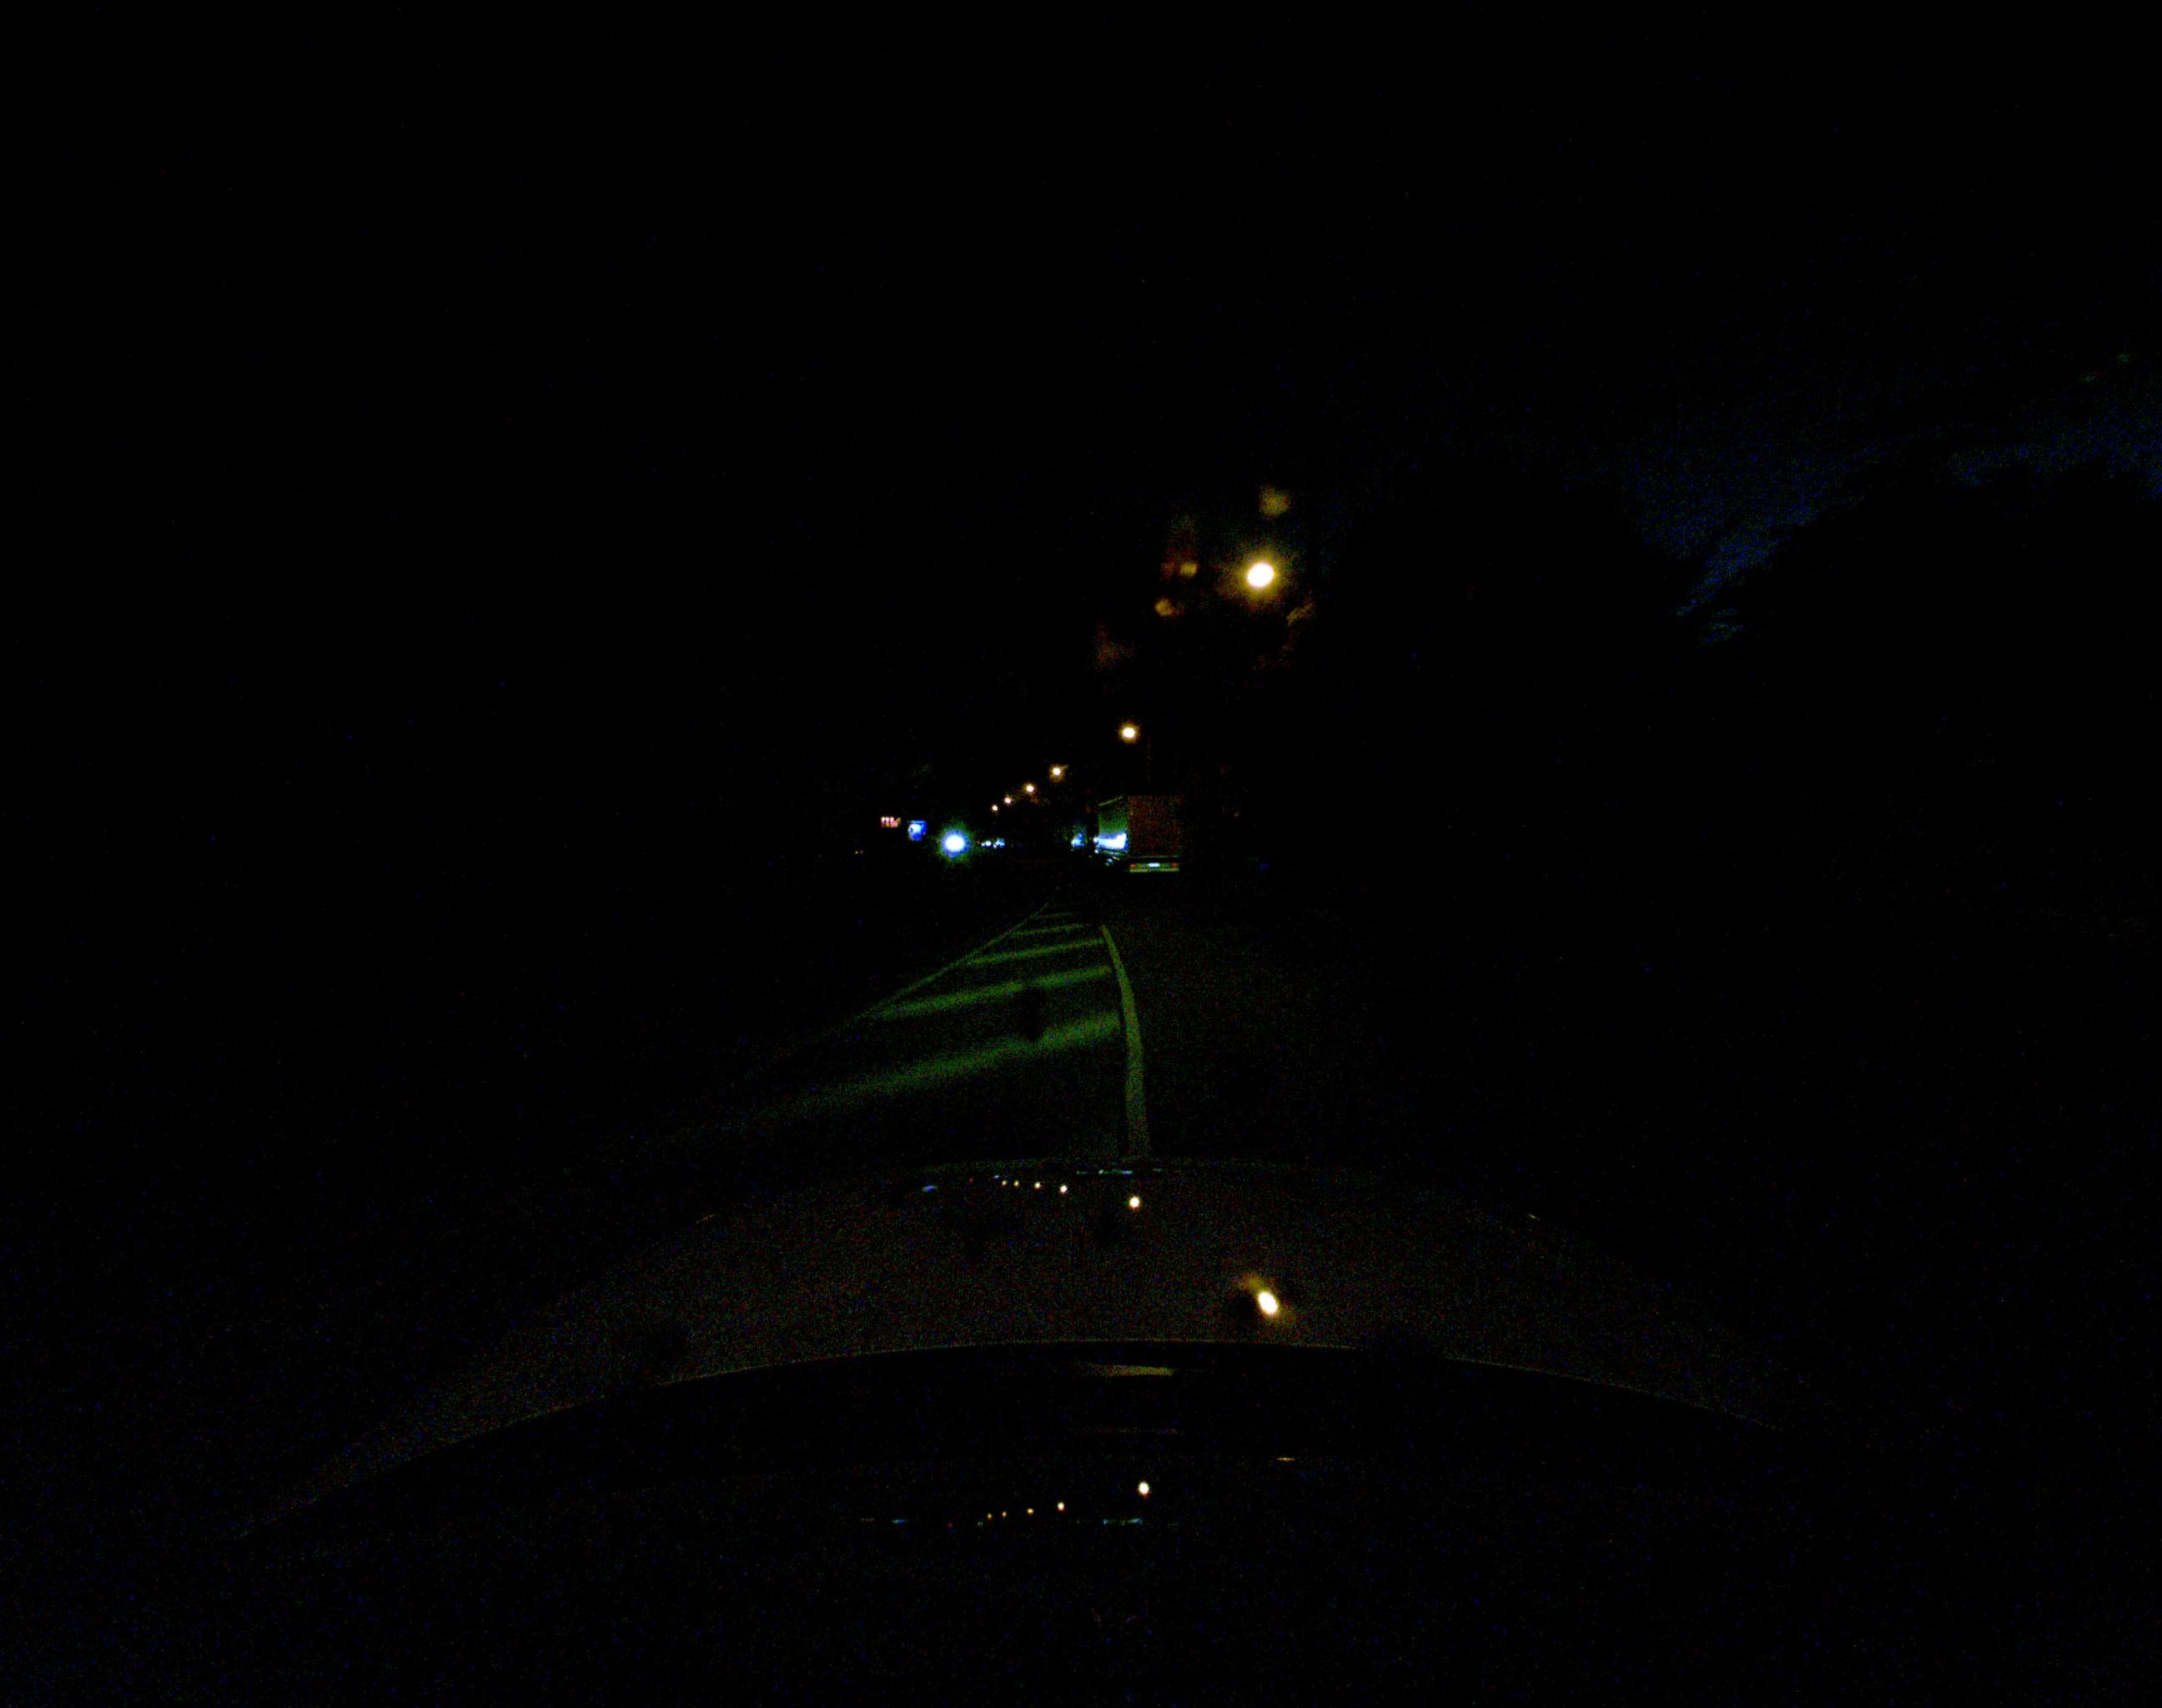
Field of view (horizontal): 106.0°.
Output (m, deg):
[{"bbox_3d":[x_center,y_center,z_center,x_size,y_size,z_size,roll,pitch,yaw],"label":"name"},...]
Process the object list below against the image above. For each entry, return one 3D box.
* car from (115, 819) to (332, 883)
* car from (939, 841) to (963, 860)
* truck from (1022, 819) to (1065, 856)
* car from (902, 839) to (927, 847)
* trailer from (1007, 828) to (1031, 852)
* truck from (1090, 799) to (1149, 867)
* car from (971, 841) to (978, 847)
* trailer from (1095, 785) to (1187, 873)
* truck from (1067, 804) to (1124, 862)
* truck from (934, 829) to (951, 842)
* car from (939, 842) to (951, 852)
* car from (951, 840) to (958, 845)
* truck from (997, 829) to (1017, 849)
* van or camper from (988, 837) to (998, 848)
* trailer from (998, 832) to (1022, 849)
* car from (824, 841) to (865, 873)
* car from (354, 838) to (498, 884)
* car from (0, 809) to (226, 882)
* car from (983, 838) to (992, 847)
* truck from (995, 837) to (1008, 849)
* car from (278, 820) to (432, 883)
[{"bbox_3d":[-29.312,-0.113,28.200,2.249,2.004,5.395,0,0,-8],"label":"car"},{"bbox_3d":[-12.028,-0.321,75.223,1.994,1.636,4.756,0,0,-11],"label":"car"},{"bbox_3d":[-4.520,-1.874,94.859,3.522,3.983,10.304,-2,1,-11],"label":"truck"},{"bbox_3d":[-33.814,-2.245,165.653,4.645,1.485,1.980,-1,1,-32],"label":"car"},{"bbox_3d":[-9.396,-2.070,122.766,2.689,3.464,7.777,0,0,-12],"label":"trailer"},{"bbox_3d":[2.333,-1.270,51.219,2.826,3.983,6.039,-2,1,-5],"label":"truck"},{"bbox_3d":[-32.556,-3.068,248.364,1.993,1.683,3.987,0,1,-10],"label":"car"},{"bbox_3d":[2.903,-1.242,44.431,2.804,3.983,13.952,-2,1,-5],"label":"trailer"},{"bbox_3d":[0.920,-1.521,61.667,2.827,3.983,10.318,-2,1,-7],"label":"truck"},{"bbox_3d":[-38.528,-5.067,226.187,3.897,3.621,8.219,0,1,-15],"label":"truck"},{"bbox_3d":[-25.130,-1.306,150.524,1.993,1.793,3.987,0,1,-10],"label":"car"},{"bbox_3d":[-37.157,-3.337,239.432,1.993,1.398,3.987,0,1,-10],"label":"car"},{"bbox_3d":[-13.293,-2.675,145.832,3.151,3.463,6.651,-2,1,-10],"label":"truck"},{"bbox_3d":[-19.412,-2.542,179.069,1.993,2.581,4.900,0,1,-9],"label":"van or camper"},{"bbox_3d":[-12.107,-2.253,138.816,3.184,2.748,10.680,-2,1,-9],"label":"trailer"},{"bbox_3d":[-11.794,0.092,40.457,1.833,1.493,4.500,0,1,-18],"label":"car"},{"bbox_3d":[-22.819,0.211,28.639,1.840,1.464,4.604,0,0,-9],"label":"car"},{"bbox_3d":[-32.344,-0.276,27.516,2.022,2.235,5.388,0,0,-12],"label":"car"},{"bbox_3d":[-22.937,-2.835,199.092,1.993,2.145,3.987,0,1,-10],"label":"car"},{"bbox_3d":[-15.429,-2.137,157.776,1.993,2.407,5.276,0,1,-10],"label":"truck"},{"bbox_3d":[-25.501,-0.097,28.877,1.995,2.013,4.669,0,0,-12],"label":"car"}]
